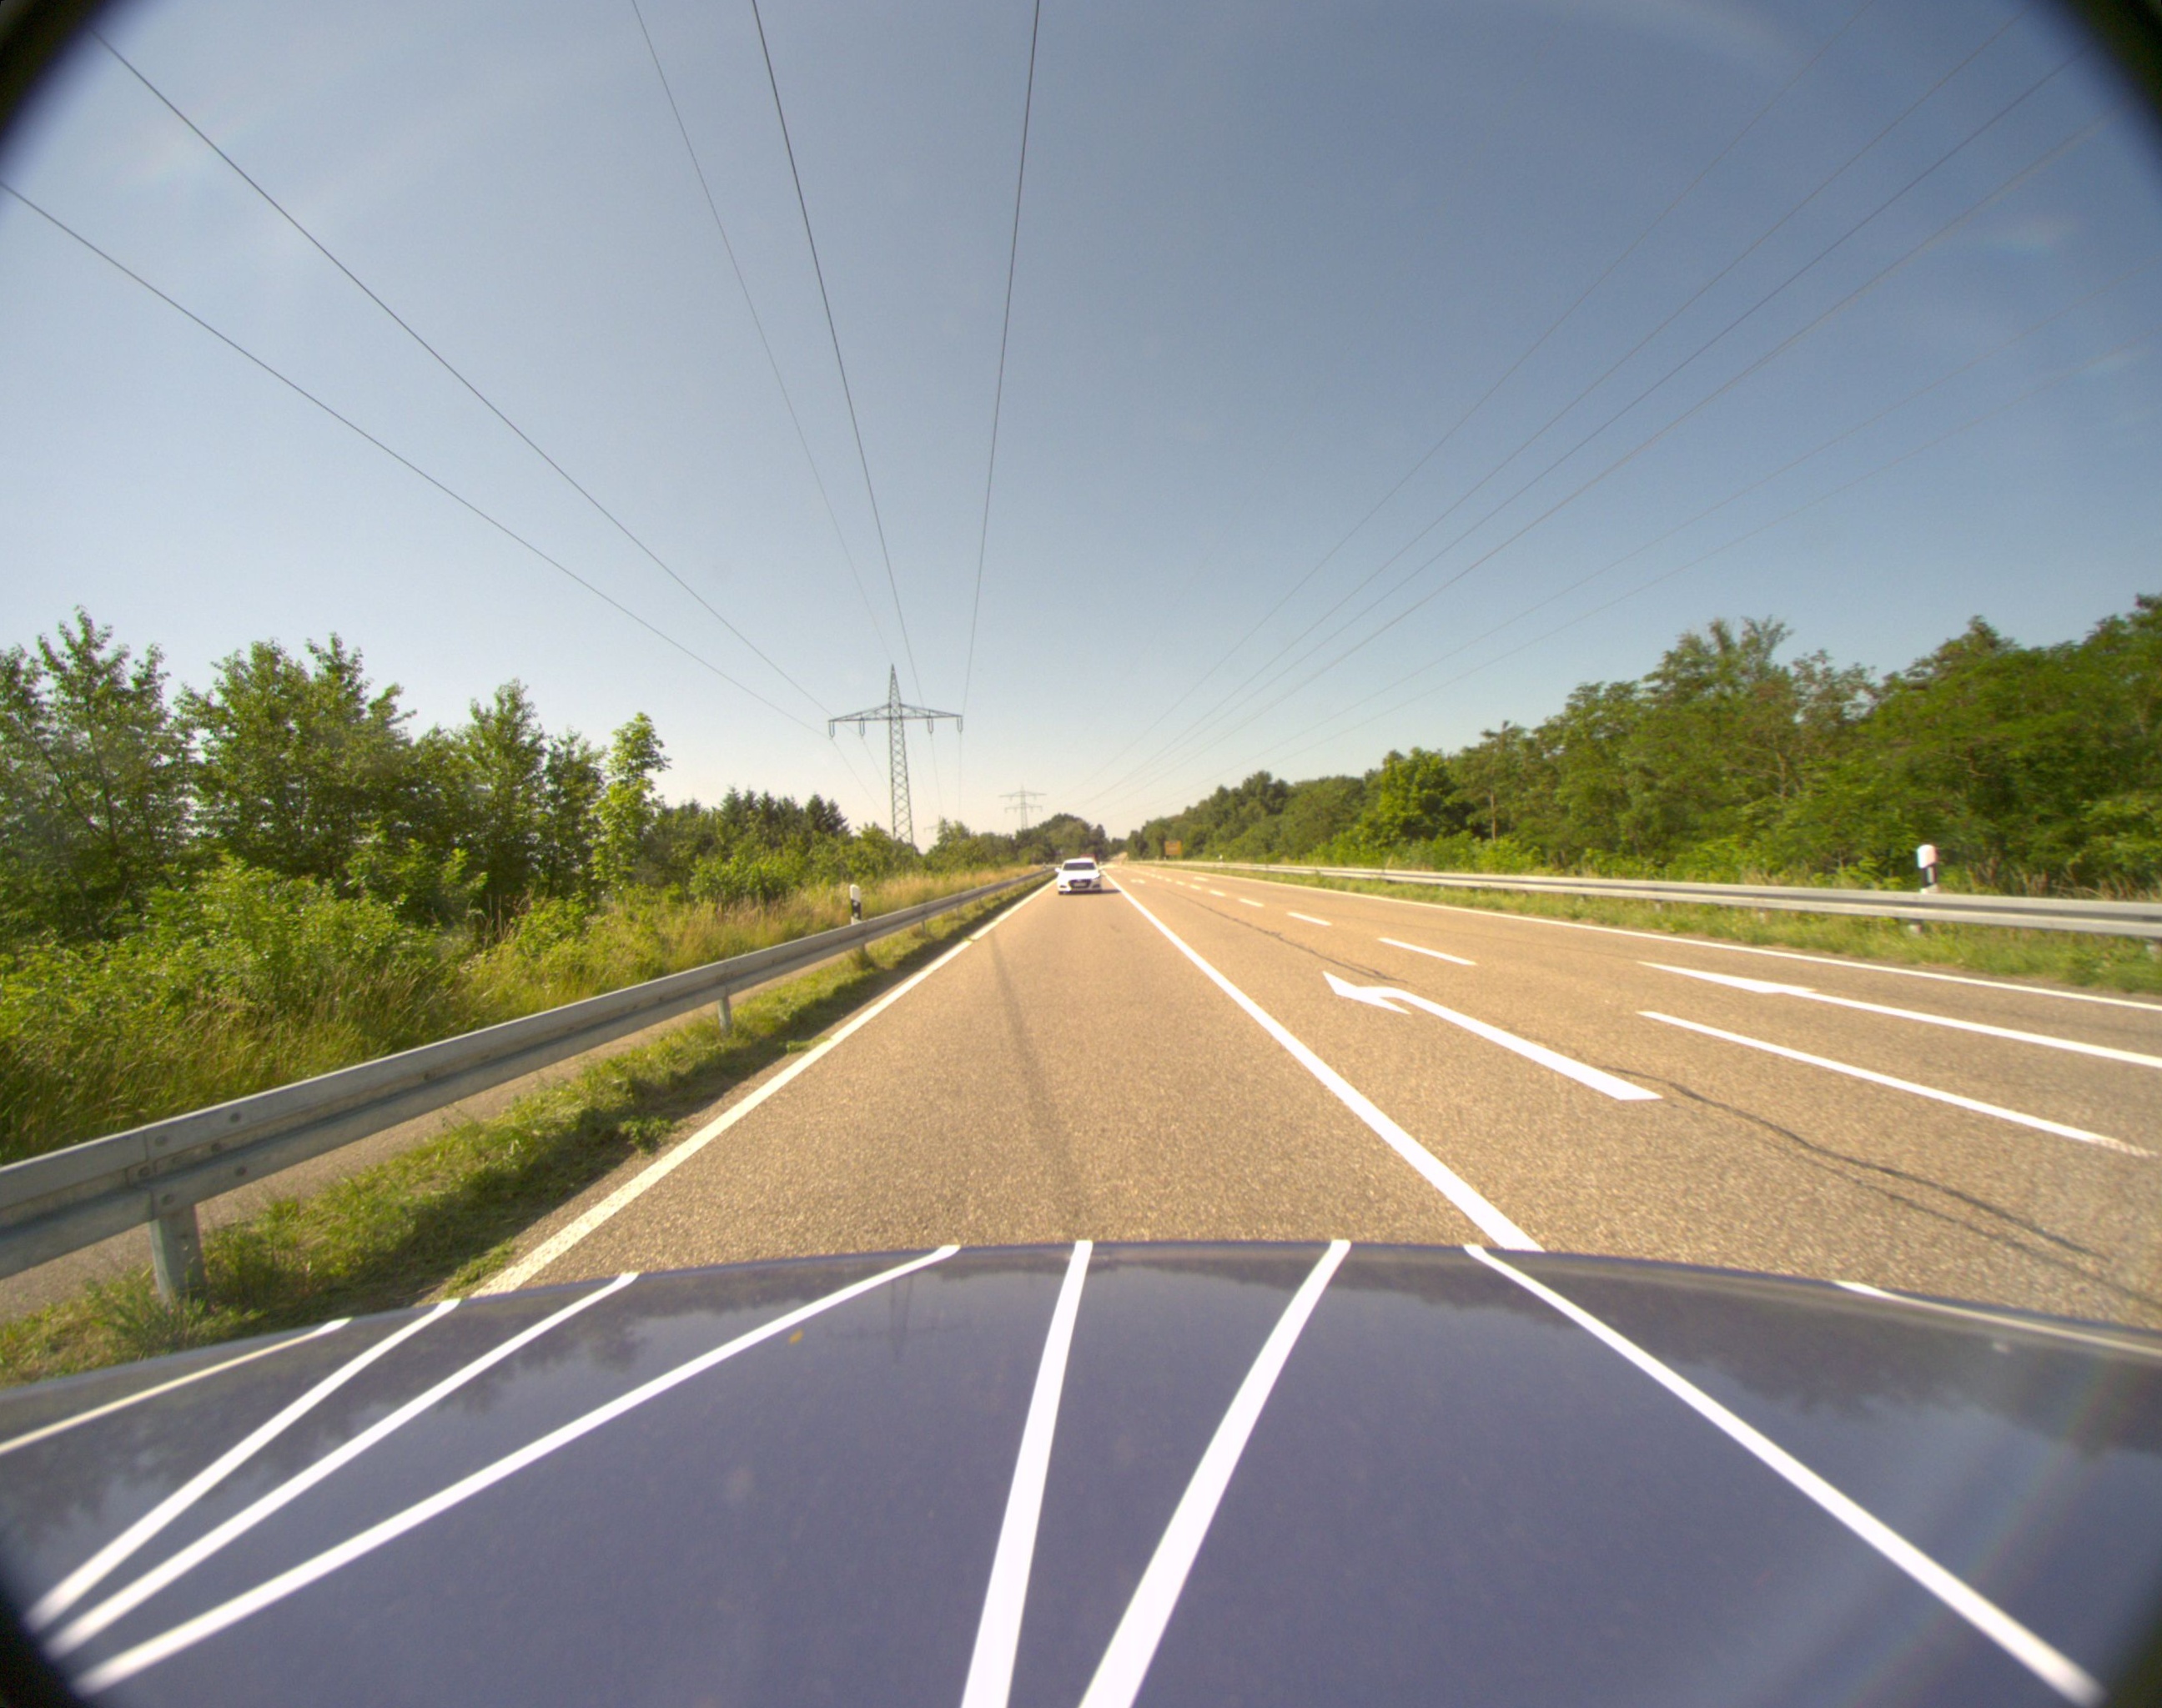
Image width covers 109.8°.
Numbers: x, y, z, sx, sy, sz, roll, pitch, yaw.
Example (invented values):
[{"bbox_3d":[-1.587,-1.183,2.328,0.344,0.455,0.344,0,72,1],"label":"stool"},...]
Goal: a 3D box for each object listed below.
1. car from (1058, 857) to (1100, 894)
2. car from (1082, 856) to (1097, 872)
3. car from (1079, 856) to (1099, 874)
[{"bbox_3d":[-0.080,0.901,33.374,1.683,1.472,4.473,-1,0,0],"label":"car"},{"bbox_3d":[1.069,1.275,98.271,1.795,1.892,4.837,-2,0,-1],"label":"car"},{"bbox_3d":[0.668,0.896,64.920,1.549,1.460,3.661,-2,0,-1],"label":"car"}]
